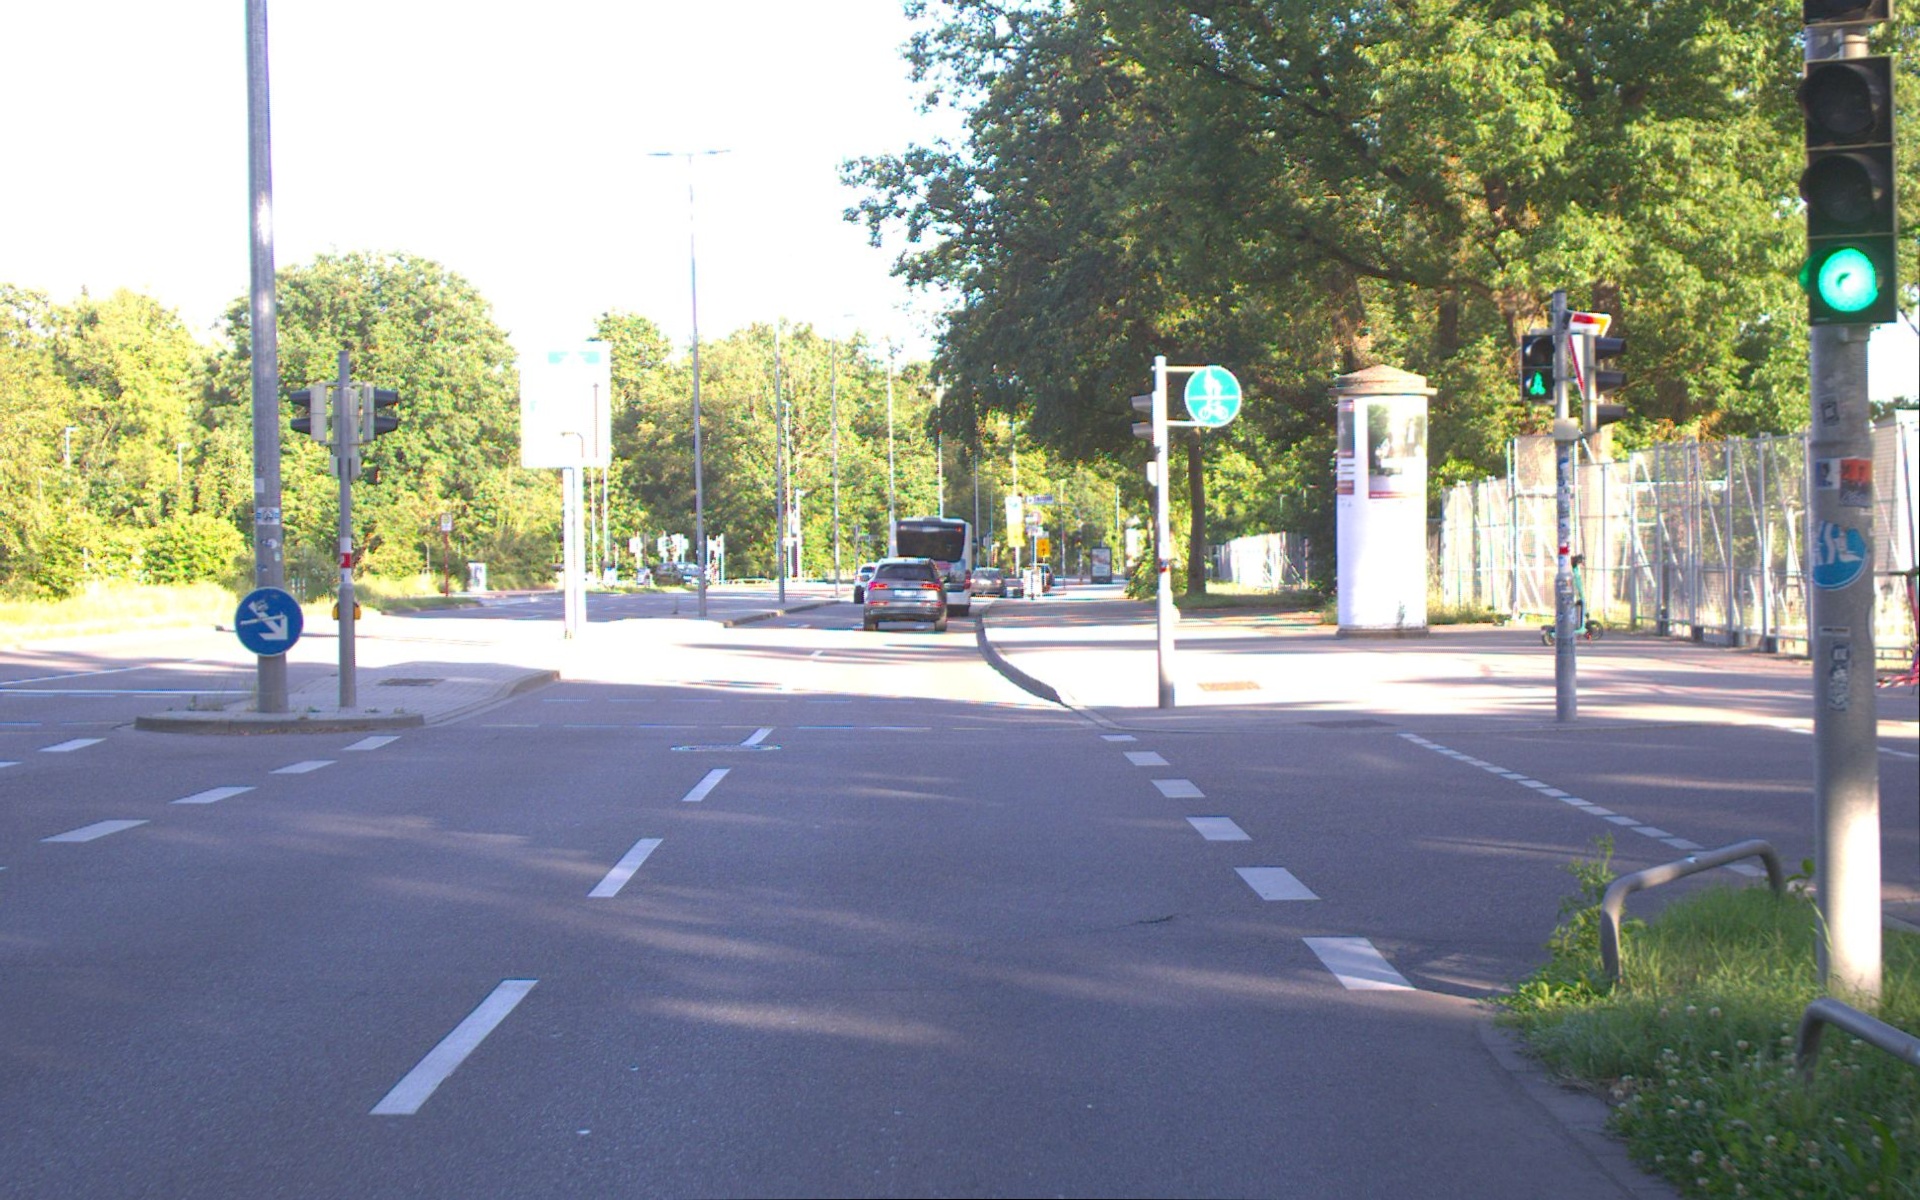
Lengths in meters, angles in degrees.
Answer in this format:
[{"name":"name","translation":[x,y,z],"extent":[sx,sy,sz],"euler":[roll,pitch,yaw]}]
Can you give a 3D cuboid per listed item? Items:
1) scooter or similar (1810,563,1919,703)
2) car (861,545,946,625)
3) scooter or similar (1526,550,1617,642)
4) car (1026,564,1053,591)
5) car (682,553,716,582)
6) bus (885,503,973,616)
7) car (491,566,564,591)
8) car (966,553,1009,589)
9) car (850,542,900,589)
[{"name":"scooter or similar","translation":[8.708,0.300,32.566],"extent":[1.358,1.283,0.603],"euler":[-1,2,-43]},{"name":"car","translation":[-1.298,-0.370,78.552],"extent":[1.880,1.759,4.000],"euler":[0,1,-1]},{"name":"scooter or similar","translation":[8.488,-0.060,47.663],"extent":[0.569,1.252,1.597],"euler":[0,0,38]},{"name":"car","translation":[4.960,-1.410,215.247],"extent":[1.592,1.600,3.584],"euler":[2,0,0]},{"name":"car","translation":[-15.736,-1.971,207.309],"extent":[1.863,1.678,3.773],"euler":[-1,1,-1]},{"name":"bus","translation":[-1.016,-1.293,107.311],"extent":[2.605,3.357,7.976],"euler":[1,1,-1]},{"name":"car","translation":[-24.561,-1.238,195.258],"extent":[3.665,1.349,1.738],"euler":[-2,1,-32]},{"name":"car","translation":[1.340,-1.406,164.896],"extent":[1.863,1.678,3.772],"euler":[-1,1,3]},{"name":"car","translation":[-3.246,-1.336,132.239],"extent":[1.880,1.759,4.000],"euler":[0,1,-1]}]
